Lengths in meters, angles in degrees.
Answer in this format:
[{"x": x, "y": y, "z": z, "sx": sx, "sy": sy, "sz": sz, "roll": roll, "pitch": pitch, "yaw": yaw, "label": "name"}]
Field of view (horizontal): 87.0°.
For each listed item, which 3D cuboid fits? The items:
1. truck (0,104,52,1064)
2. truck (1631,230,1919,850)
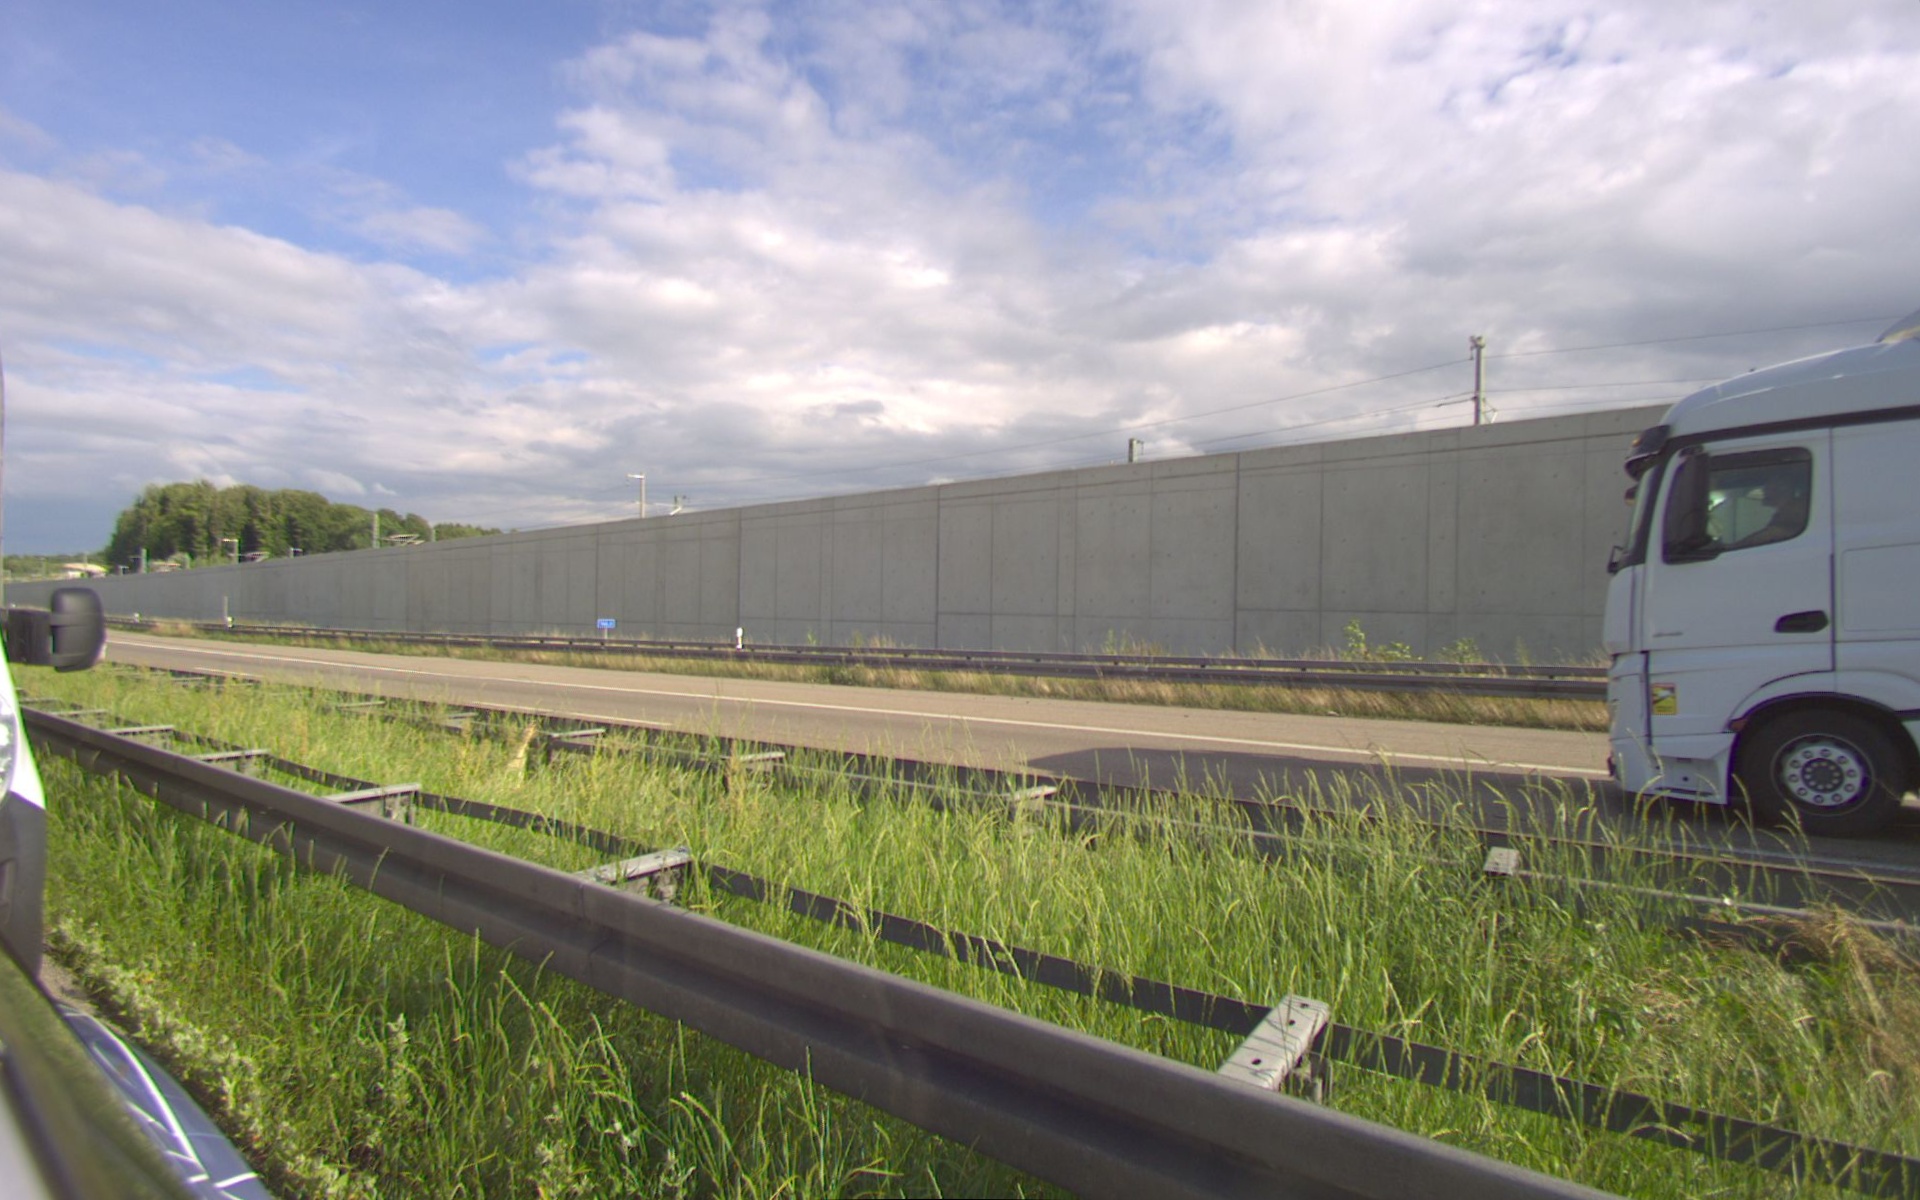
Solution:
[{"x": -6.638, "y": -0.020, "z": 5.193, "sx": 7.800, "sy": 3.129, "sz": 2.033, "roll": -1, "pitch": 0, "yaw": 41, "label": "truck"}, {"x": 8.685, "y": -0.429, "z": 6.556, "sx": 6.995, "sy": 4.129, "sz": 2.612, "roll": -1, "pitch": 0, "yaw": 39, "label": "truck"}]
